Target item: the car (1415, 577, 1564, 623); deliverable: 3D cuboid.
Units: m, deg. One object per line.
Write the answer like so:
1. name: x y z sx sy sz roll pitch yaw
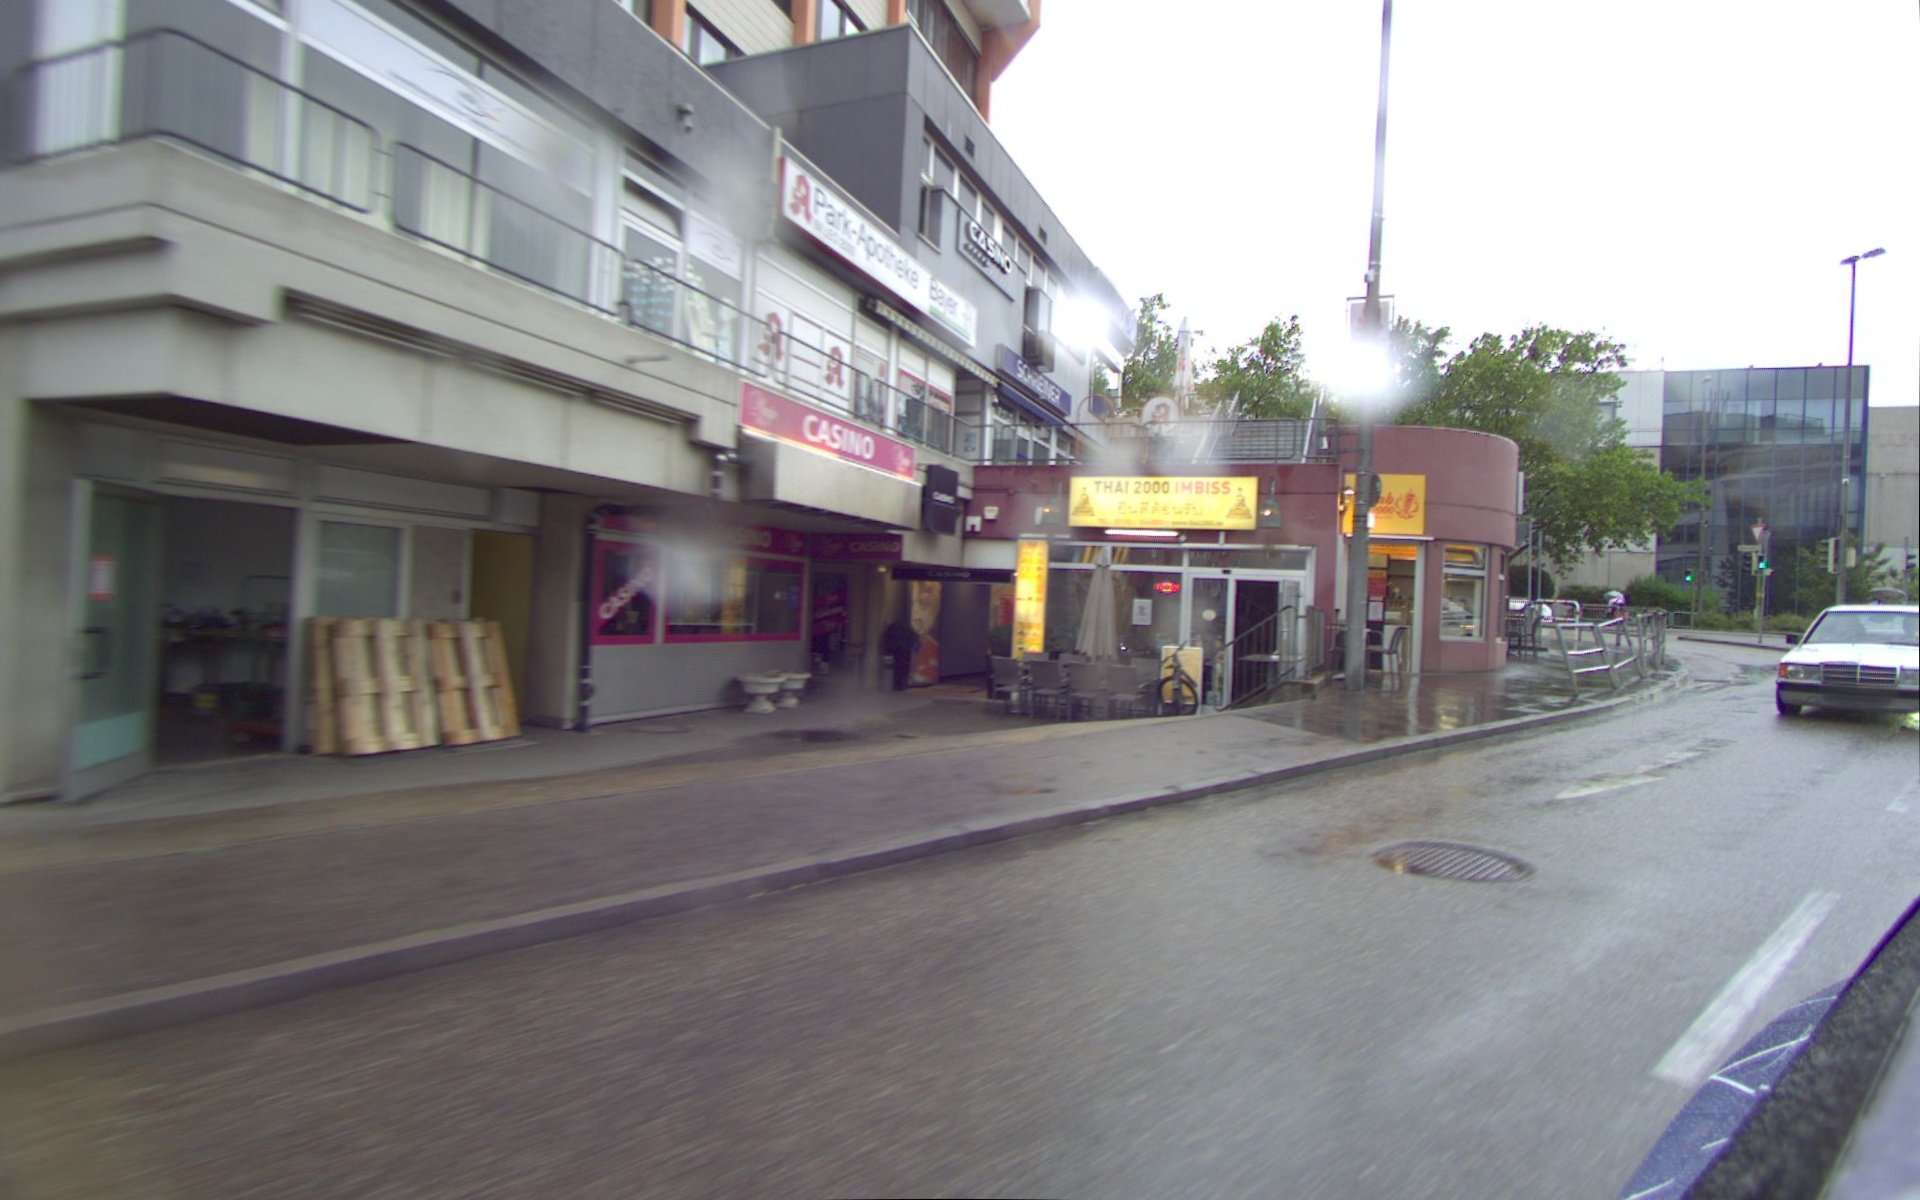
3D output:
1. car: 20.349 -0.040 39.147 4.875 1.532 1.837 2 2 23

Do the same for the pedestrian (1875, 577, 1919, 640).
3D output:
1. pedestrian: 28.269 0.254 30.520 0.781 1.825 0.689 1 4 -30

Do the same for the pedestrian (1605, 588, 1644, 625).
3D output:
1. pedestrian: 26.590 0.237 40.524 0.909 1.418 1.208 2 1 14

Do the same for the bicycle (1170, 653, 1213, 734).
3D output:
1. bicycle: 3.357 1.321 14.696 0.523 0.949 1.571 4 2 13

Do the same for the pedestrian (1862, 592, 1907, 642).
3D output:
1. pedestrian: 27.492 0.503 30.103 0.756 1.396 0.689 1 4 -30

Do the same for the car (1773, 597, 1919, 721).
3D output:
1. car: 11.924 0.658 12.807 3.922 1.324 1.662 0 2 -38

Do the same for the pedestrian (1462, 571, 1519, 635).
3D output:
1. pedestrian: 15.792 0.079 30.136 1.238 1.852 0.717 1 1 -6
